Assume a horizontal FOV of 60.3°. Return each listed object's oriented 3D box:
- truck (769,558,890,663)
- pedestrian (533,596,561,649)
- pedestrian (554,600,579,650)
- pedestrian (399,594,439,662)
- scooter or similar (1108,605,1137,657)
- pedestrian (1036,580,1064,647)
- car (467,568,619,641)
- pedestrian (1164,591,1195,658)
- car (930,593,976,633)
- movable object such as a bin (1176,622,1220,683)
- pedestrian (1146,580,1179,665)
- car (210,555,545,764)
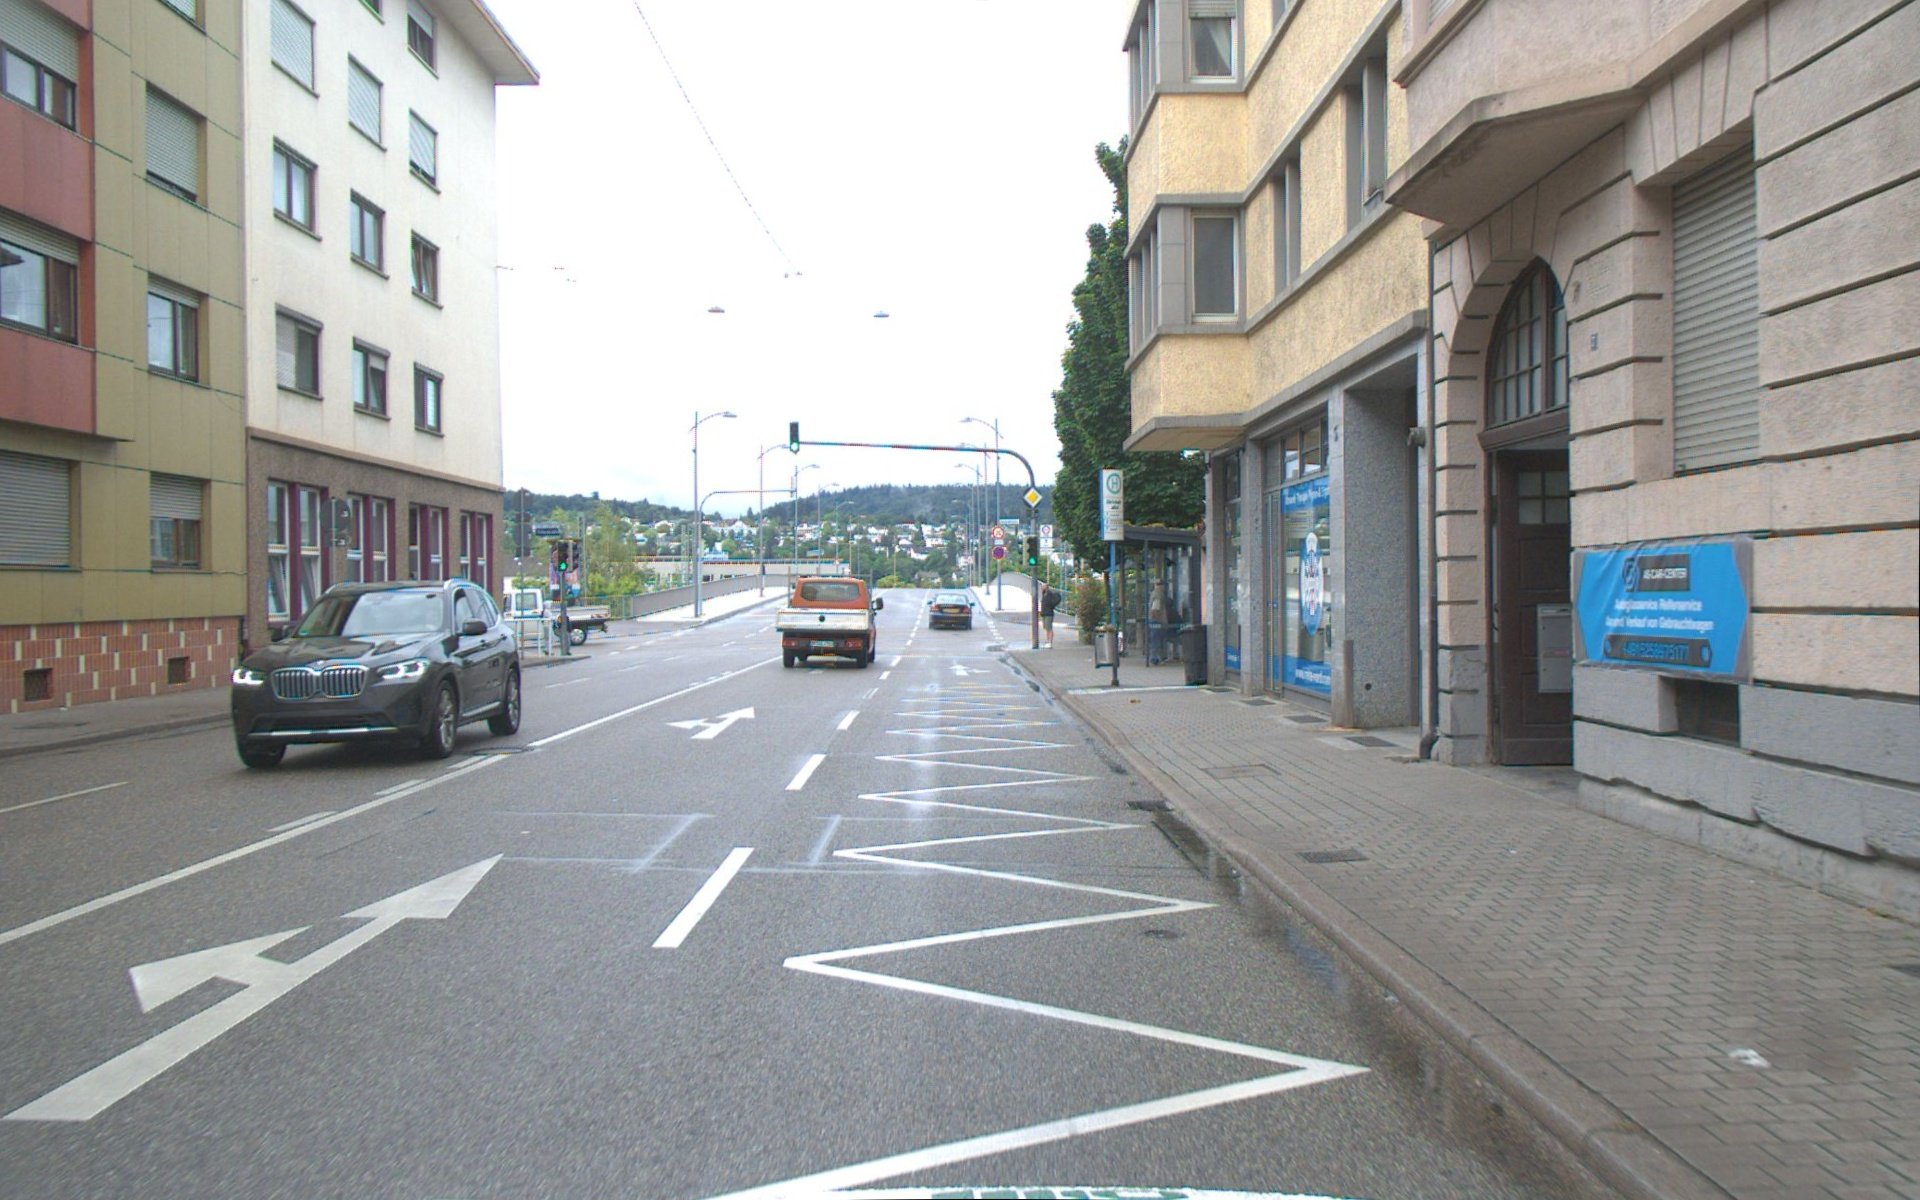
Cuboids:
[{"bbox_3d":[-2.845,0.227,37.353,2.351,2.167,5.314,-1,0,-1],"label":"truck"},{"bbox_3d":[-11.702,0.636,46.844,0.629,1.483,0.661,-1,-1,-2],"label":"pedestrian"},{"bbox_3d":[-11.228,0.720,47.232,0.533,1.412,0.649,-1,-1,1],"label":"pedestrian"},{"bbox_3d":[-13.019,0.669,39.827,0.758,1.605,0.588,-1,-1,-1],"label":"pedestrian"},{"bbox_3d":[3.826,0.716,39.016,0.500,1.193,1.549,-1,0,0],"label":"scooter or similar"},{"bbox_3d":[2.515,0.380,46.399,0.718,1.873,0.631,-1,-1,-2],"label":"pedestrian"},{"bbox_3d":[-14.281,0.154,56.666,4.917,2.392,1.989,-1,-1,-19],"label":"car"},{"bbox_3d":[4.694,0.518,35.418,0.552,1.421,0.513,-1,-1,-4],"label":"pedestrian"},{"bbox_3d":[-0.286,0.494,65.306,1.718,1.505,3.999,-1,0,0],"label":"car"},{"bbox_3d":[3.768,0.832,26.234,0.588,0.942,0.704,-1,-1,-1],"label":"movable object such as a bin"},{"bbox_3d":[4.179,0.458,34.152,0.606,1.729,0.656,-1,-1,3],"label":"pedestrian"},{"bbox_3d":[-5.631,0.531,16.663,1.892,1.788,4.571,-1,0,-2],"label":"car"}]
